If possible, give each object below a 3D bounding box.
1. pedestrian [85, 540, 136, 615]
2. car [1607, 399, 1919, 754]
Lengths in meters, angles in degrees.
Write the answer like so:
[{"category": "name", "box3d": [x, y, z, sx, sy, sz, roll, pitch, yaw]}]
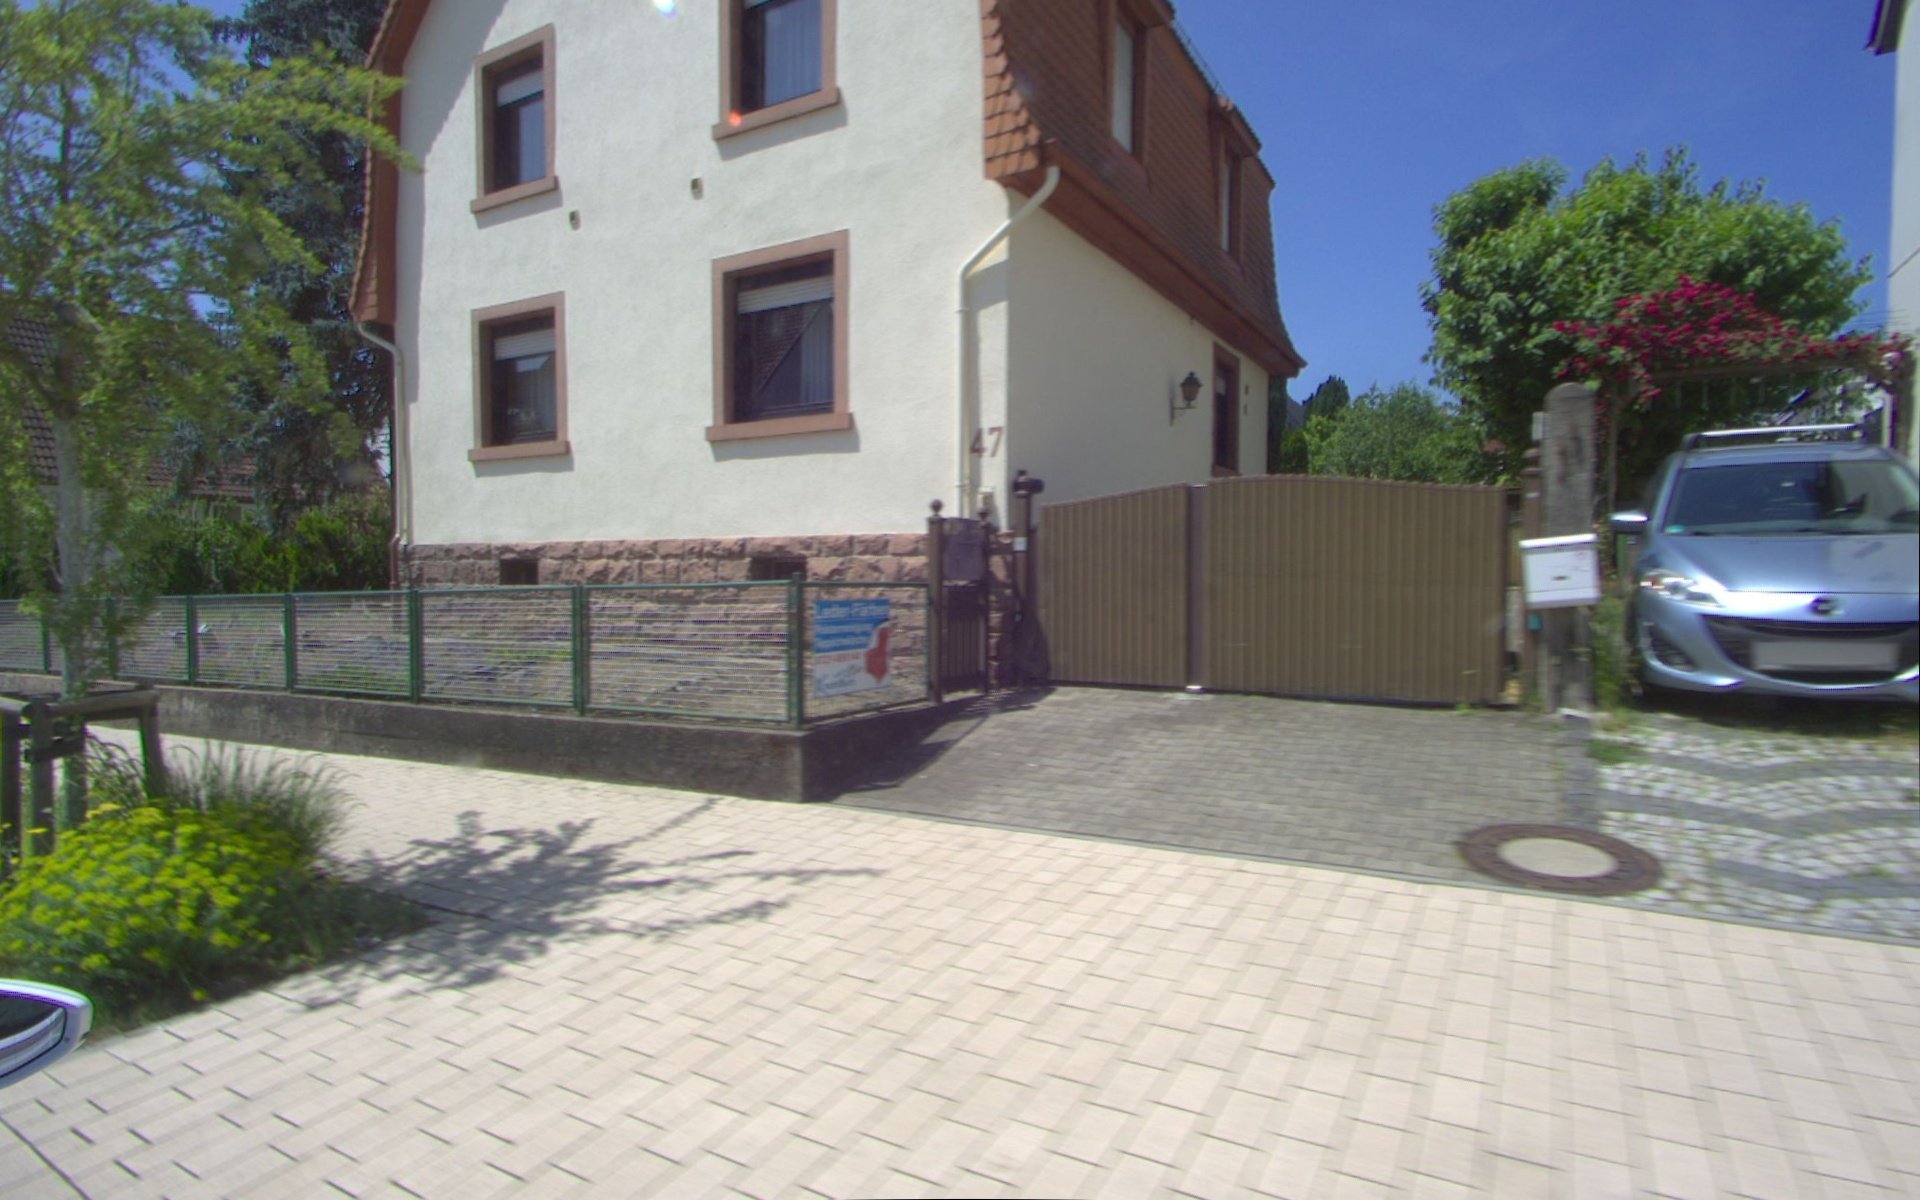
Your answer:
[{"category": "pedestrian", "box3d": [-19.032, -0.505, 22.437, 0.544, 1.639, 0.602, 0, 6, 32]}, {"category": "car", "box3d": [5.596, -0.320, 6.877, 1.864, 1.791, 3.974, 0, 6, 32]}]
